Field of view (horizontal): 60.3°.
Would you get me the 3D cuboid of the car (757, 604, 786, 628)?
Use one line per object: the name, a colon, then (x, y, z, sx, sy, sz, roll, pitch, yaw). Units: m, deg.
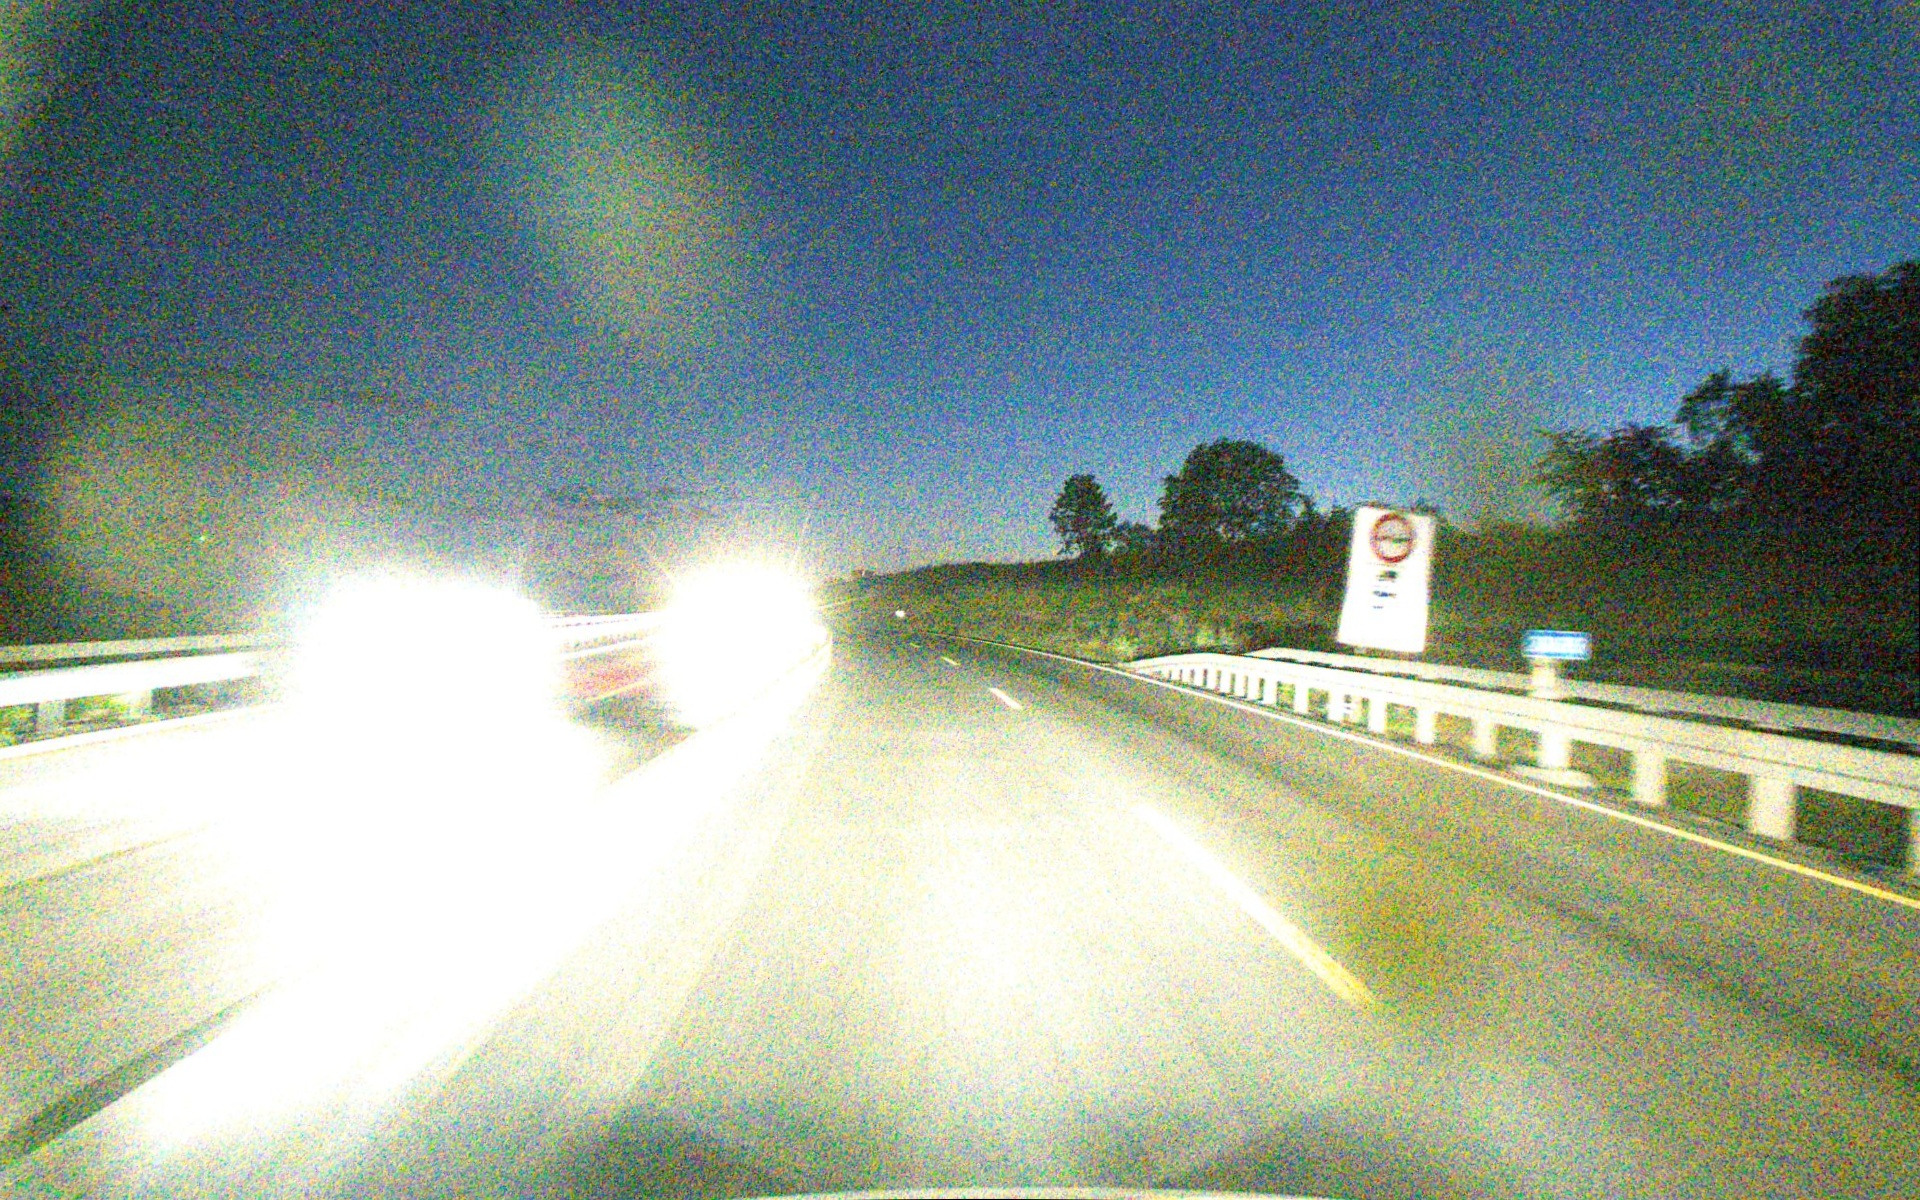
car: (-12.064, 1.040, 105.534, 1.621, 1.495, 3.991, -1, -1, -9)

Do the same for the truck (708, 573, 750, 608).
truck: (-32.768, -1.212, 234.060, 3.947, 4.631, 13.889, -1, -1, -16)

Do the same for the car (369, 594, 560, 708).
car: (-7.070, 0.697, 24.050, 1.678, 1.469, 4.483, -1, -1, -4)

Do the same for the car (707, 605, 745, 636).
car: (-10.918, 0.957, 77.040, 1.684, 1.404, 4.235, 1, -1, -8)

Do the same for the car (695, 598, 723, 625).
car: (-19.530, 0.891, 128.409, 1.957, 2.049, 5.573, -1, -1, -10)
